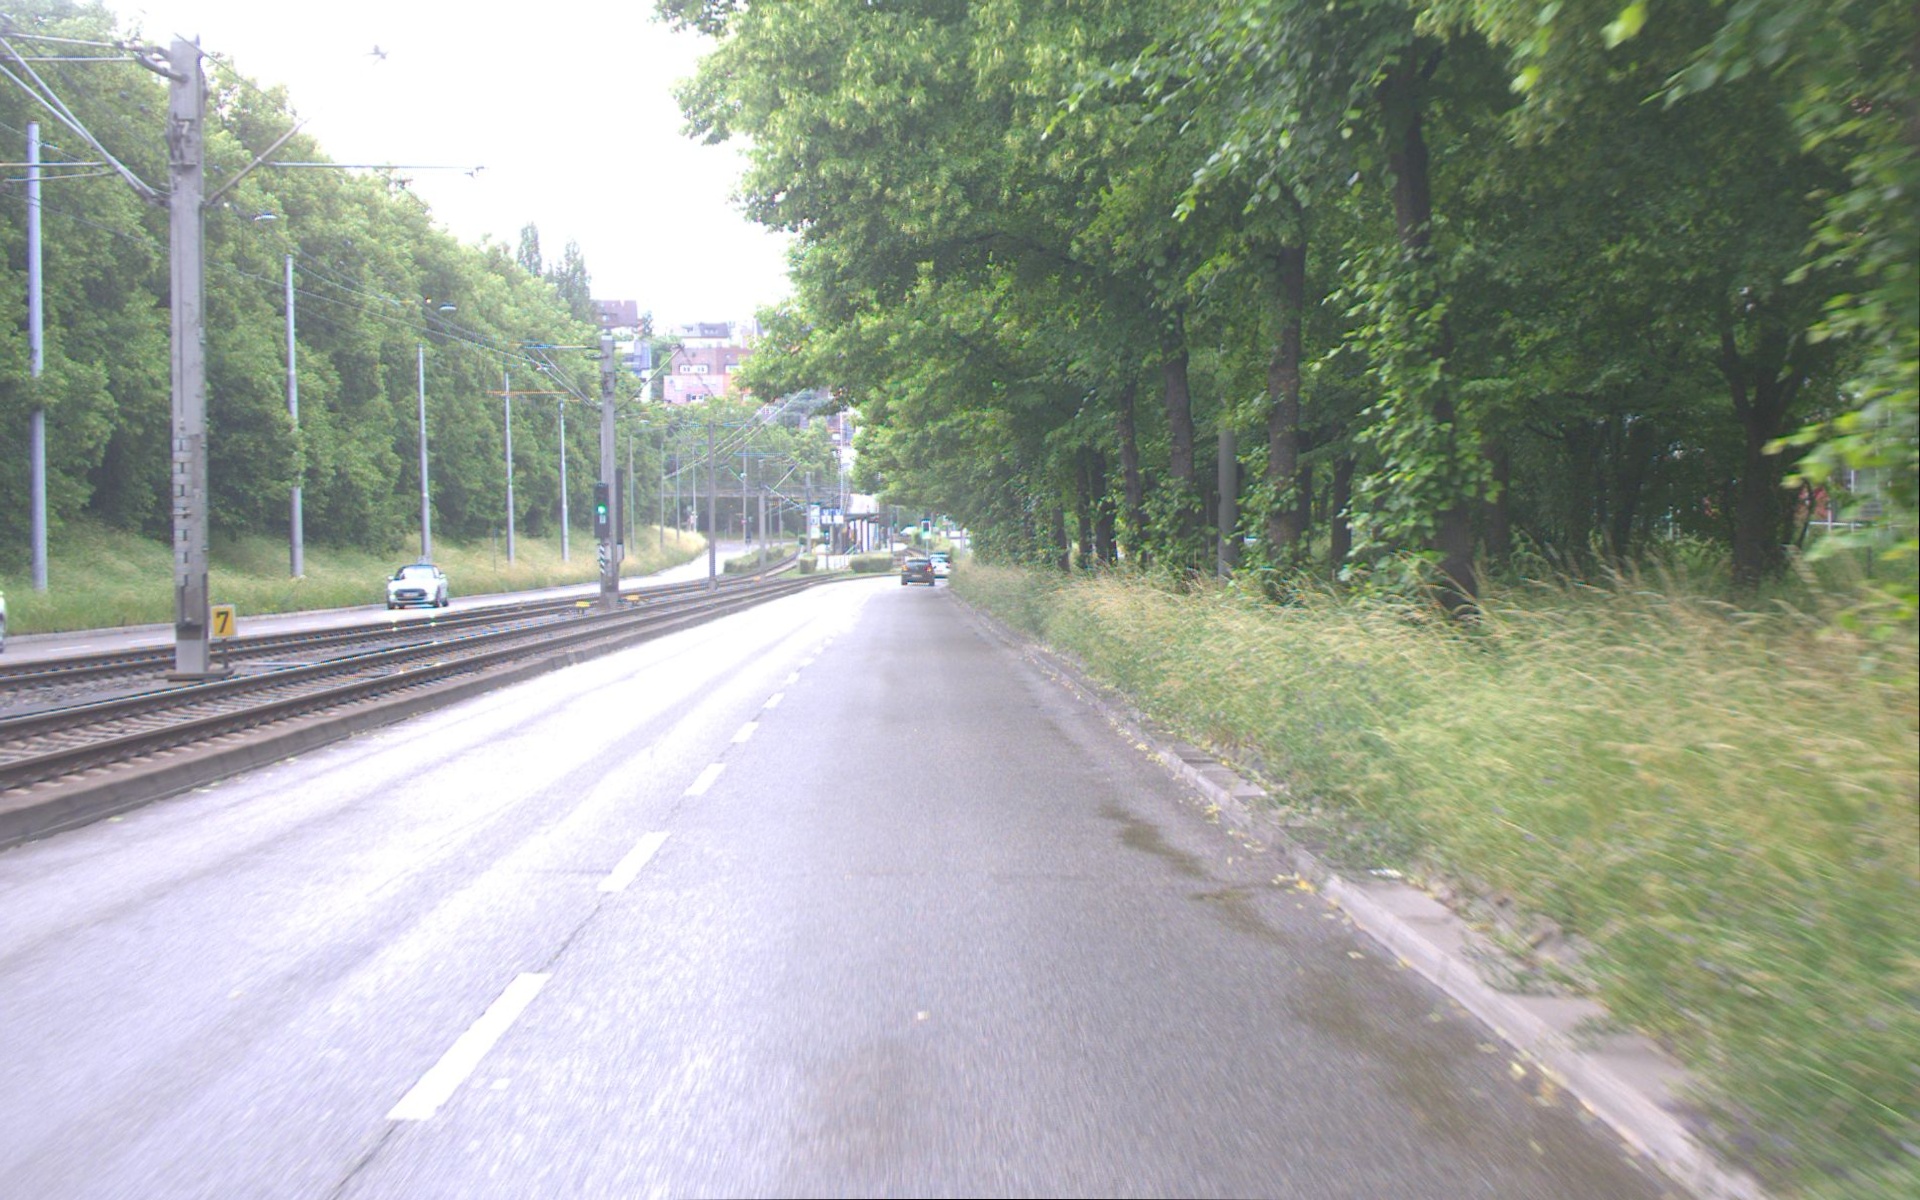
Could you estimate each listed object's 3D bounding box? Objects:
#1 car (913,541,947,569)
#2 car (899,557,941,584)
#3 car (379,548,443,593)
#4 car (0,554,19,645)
[{"bbox_3d":[-1.785,-2.678,204.633,1.993,1.645,4.000,0,1,0],"label":"car"},{"bbox_3d":[-2.142,-1.545,181.748,2.194,1.325,4.001,0,2,-1],"label":"car"},{"bbox_3d":[-18.309,-0.993,114.747,1.476,1.431,3.909,-2,1,0],"label":"car"},{"bbox_3d":[-16.987,0.016,56.829,1.653,1.524,4.381,0,1,0],"label":"car"}]
